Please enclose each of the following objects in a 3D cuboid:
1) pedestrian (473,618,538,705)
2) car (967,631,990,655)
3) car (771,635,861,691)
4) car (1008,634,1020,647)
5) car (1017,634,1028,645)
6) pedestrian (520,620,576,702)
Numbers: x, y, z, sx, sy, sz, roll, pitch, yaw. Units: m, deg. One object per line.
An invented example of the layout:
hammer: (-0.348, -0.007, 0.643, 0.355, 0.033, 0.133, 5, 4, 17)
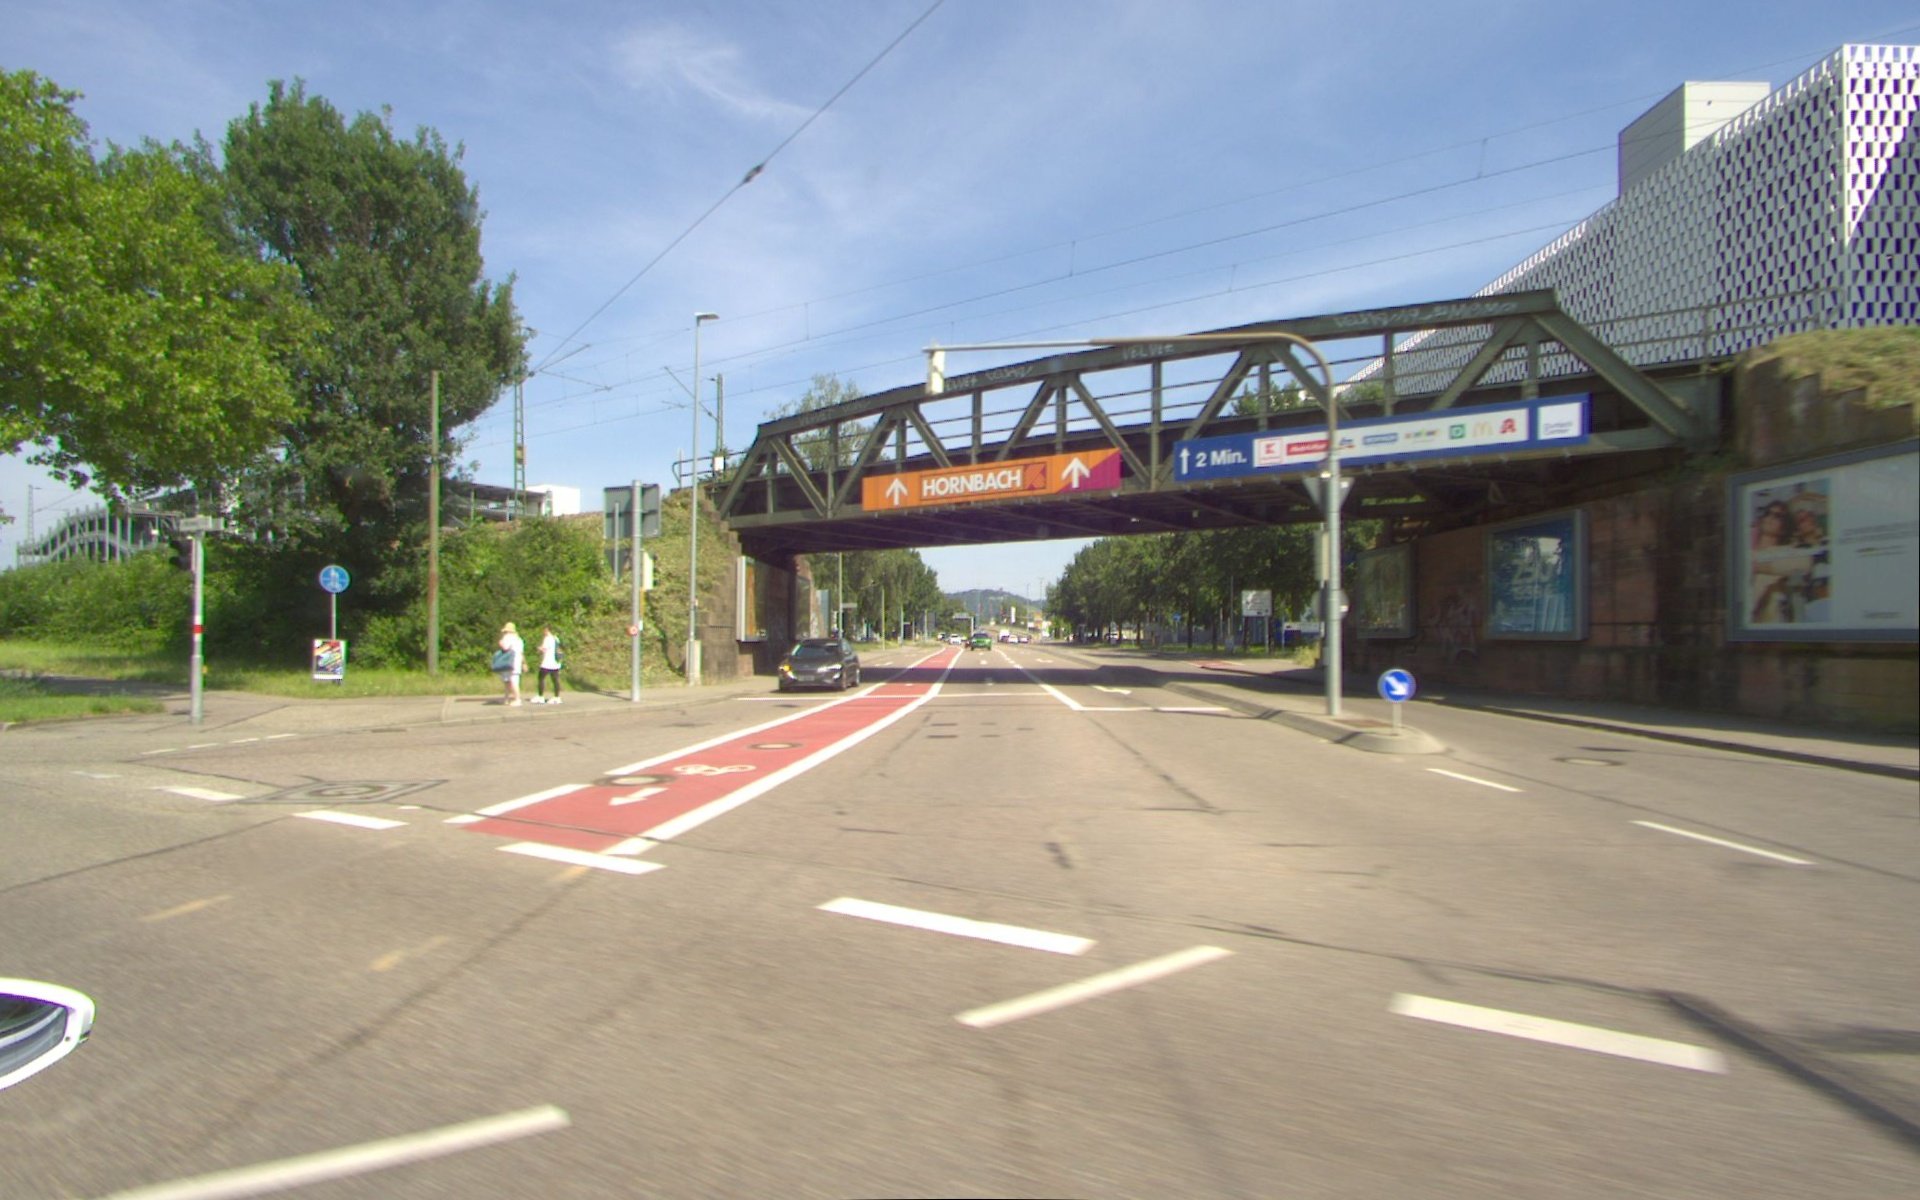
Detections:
pedestrian: (-8.839, 1.182, 19.487, 0.767, 1.632, 0.866, 0, -1, 34)
car: (1.623, 3.722, 87.323, 1.961, 2.039, 4.002, 0, -2, 2)
car: (-3.943, 1.718, 28.110, 1.961, 1.426, 4.503, 1, -2, -1)
car: (9.155, 6.846, 168.905, 1.961, 2.039, 4.002, 0, -2, 2)
car: (11.997, 7.538, 192.908, 1.961, 2.039, 4.002, 0, -2, 2)
pedestrian: (-8.342, 1.218, 20.260, 0.767, 1.599, 0.727, 0, -1, 34)
